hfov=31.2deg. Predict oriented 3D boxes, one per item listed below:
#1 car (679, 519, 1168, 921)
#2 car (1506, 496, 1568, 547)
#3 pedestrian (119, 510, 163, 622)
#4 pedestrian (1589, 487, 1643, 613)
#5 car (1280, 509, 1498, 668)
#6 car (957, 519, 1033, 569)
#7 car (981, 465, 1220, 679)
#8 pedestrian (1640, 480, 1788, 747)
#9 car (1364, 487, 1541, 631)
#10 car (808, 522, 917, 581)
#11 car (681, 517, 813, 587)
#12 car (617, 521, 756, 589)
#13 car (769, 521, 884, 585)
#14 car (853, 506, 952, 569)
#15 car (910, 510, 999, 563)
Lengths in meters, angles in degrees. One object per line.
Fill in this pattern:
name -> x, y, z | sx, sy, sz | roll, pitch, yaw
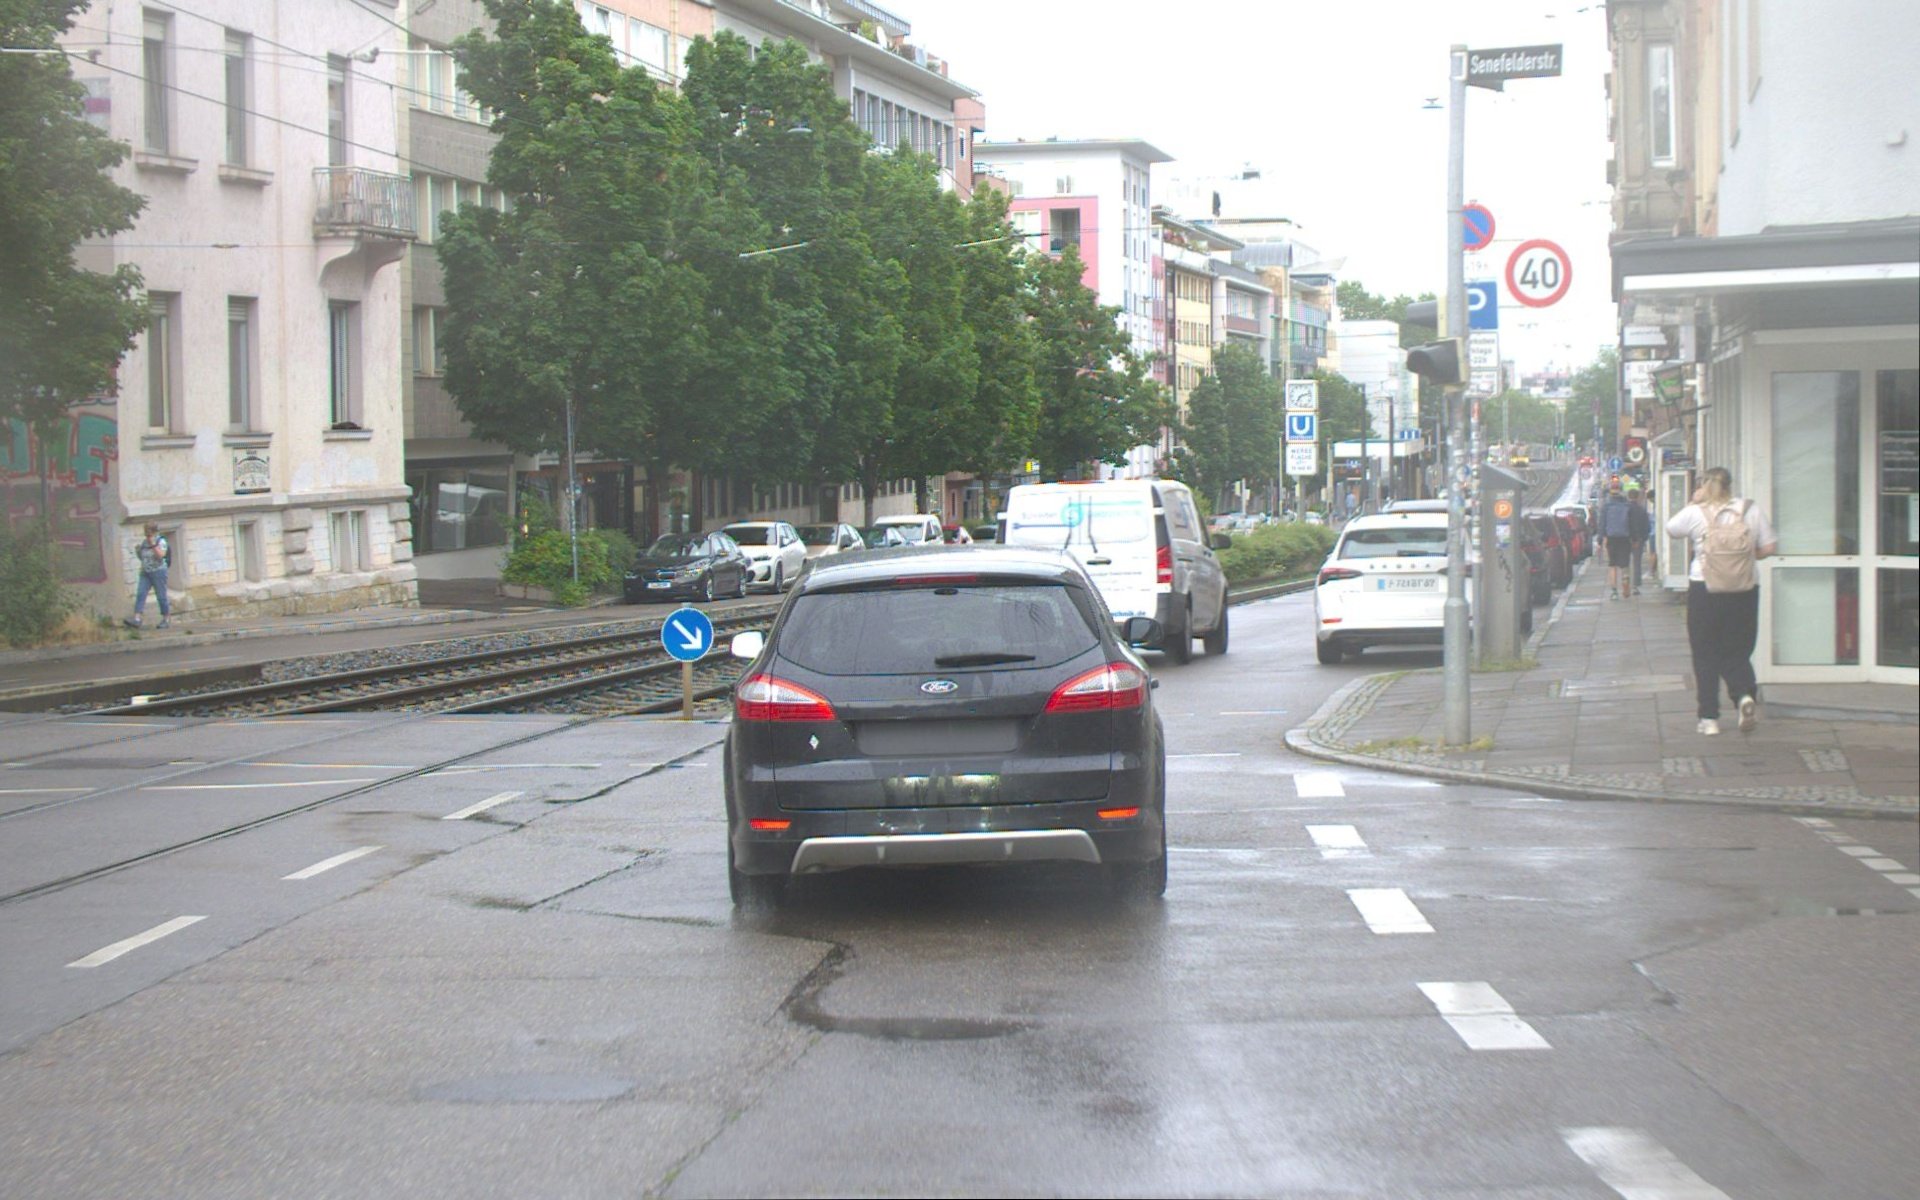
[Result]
car -> -0.117, 0.449, 15.185 | 1.842, 1.502, 4.000 | -1, 0, 1
car -> 16.726, -2.280, 99.611 | 1.671, 1.416, 3.475 | -1, 1, 11
pedestrian -> -12.128, -0.504, 50.938 | 0.467, 1.646, 0.582 | 2, 0, -1
pedestrian -> 9.869, -0.760, 51.734 | 0.703, 1.813, 0.961 | -3, 2, 11
car -> 4.375, -0.126, 34.522 | 1.802, 1.450, 4.584 | -1, 0, 11
car -> 1.133, -1.757, 108.347 | 1.668, 1.553, 4.044 | 0, 0, 11
car -> 1.530, -0.351, 35.684 | 1.989, 2.053, 4.644 | 0, 2, 8
pedestrian -> 4.528, 0.077, 20.682 | 0.688, 1.566, 0.763 | -1, 0, 0
car -> 5.980, -0.484, 41.362 | 1.846, 1.627, 4.584 | 0, 0, 11
car -> -2.518, -1.239, 89.697 | 1.856, 1.413, 4.429 | -2, 0, 11
car -> -4.803, -1.081, 78.180 | 1.856, 1.543, 4.718 | 0, 0, 11
car -> -5.718, -0.929, 72.335 | 1.694, 1.373, 4.718 | 0, 0, 11
car -> -3.256, -1.143, 84.665 | 1.856, 1.543, 4.429 | 0, 0, 11
car -> -1.568, -1.726, 95.526 | 1.856, 1.695, 4.429 | 0, 0, 11
car -> -0.145, -1.858, 101.186 | 1.856, 1.521, 4.044 | 0, 0, 11
